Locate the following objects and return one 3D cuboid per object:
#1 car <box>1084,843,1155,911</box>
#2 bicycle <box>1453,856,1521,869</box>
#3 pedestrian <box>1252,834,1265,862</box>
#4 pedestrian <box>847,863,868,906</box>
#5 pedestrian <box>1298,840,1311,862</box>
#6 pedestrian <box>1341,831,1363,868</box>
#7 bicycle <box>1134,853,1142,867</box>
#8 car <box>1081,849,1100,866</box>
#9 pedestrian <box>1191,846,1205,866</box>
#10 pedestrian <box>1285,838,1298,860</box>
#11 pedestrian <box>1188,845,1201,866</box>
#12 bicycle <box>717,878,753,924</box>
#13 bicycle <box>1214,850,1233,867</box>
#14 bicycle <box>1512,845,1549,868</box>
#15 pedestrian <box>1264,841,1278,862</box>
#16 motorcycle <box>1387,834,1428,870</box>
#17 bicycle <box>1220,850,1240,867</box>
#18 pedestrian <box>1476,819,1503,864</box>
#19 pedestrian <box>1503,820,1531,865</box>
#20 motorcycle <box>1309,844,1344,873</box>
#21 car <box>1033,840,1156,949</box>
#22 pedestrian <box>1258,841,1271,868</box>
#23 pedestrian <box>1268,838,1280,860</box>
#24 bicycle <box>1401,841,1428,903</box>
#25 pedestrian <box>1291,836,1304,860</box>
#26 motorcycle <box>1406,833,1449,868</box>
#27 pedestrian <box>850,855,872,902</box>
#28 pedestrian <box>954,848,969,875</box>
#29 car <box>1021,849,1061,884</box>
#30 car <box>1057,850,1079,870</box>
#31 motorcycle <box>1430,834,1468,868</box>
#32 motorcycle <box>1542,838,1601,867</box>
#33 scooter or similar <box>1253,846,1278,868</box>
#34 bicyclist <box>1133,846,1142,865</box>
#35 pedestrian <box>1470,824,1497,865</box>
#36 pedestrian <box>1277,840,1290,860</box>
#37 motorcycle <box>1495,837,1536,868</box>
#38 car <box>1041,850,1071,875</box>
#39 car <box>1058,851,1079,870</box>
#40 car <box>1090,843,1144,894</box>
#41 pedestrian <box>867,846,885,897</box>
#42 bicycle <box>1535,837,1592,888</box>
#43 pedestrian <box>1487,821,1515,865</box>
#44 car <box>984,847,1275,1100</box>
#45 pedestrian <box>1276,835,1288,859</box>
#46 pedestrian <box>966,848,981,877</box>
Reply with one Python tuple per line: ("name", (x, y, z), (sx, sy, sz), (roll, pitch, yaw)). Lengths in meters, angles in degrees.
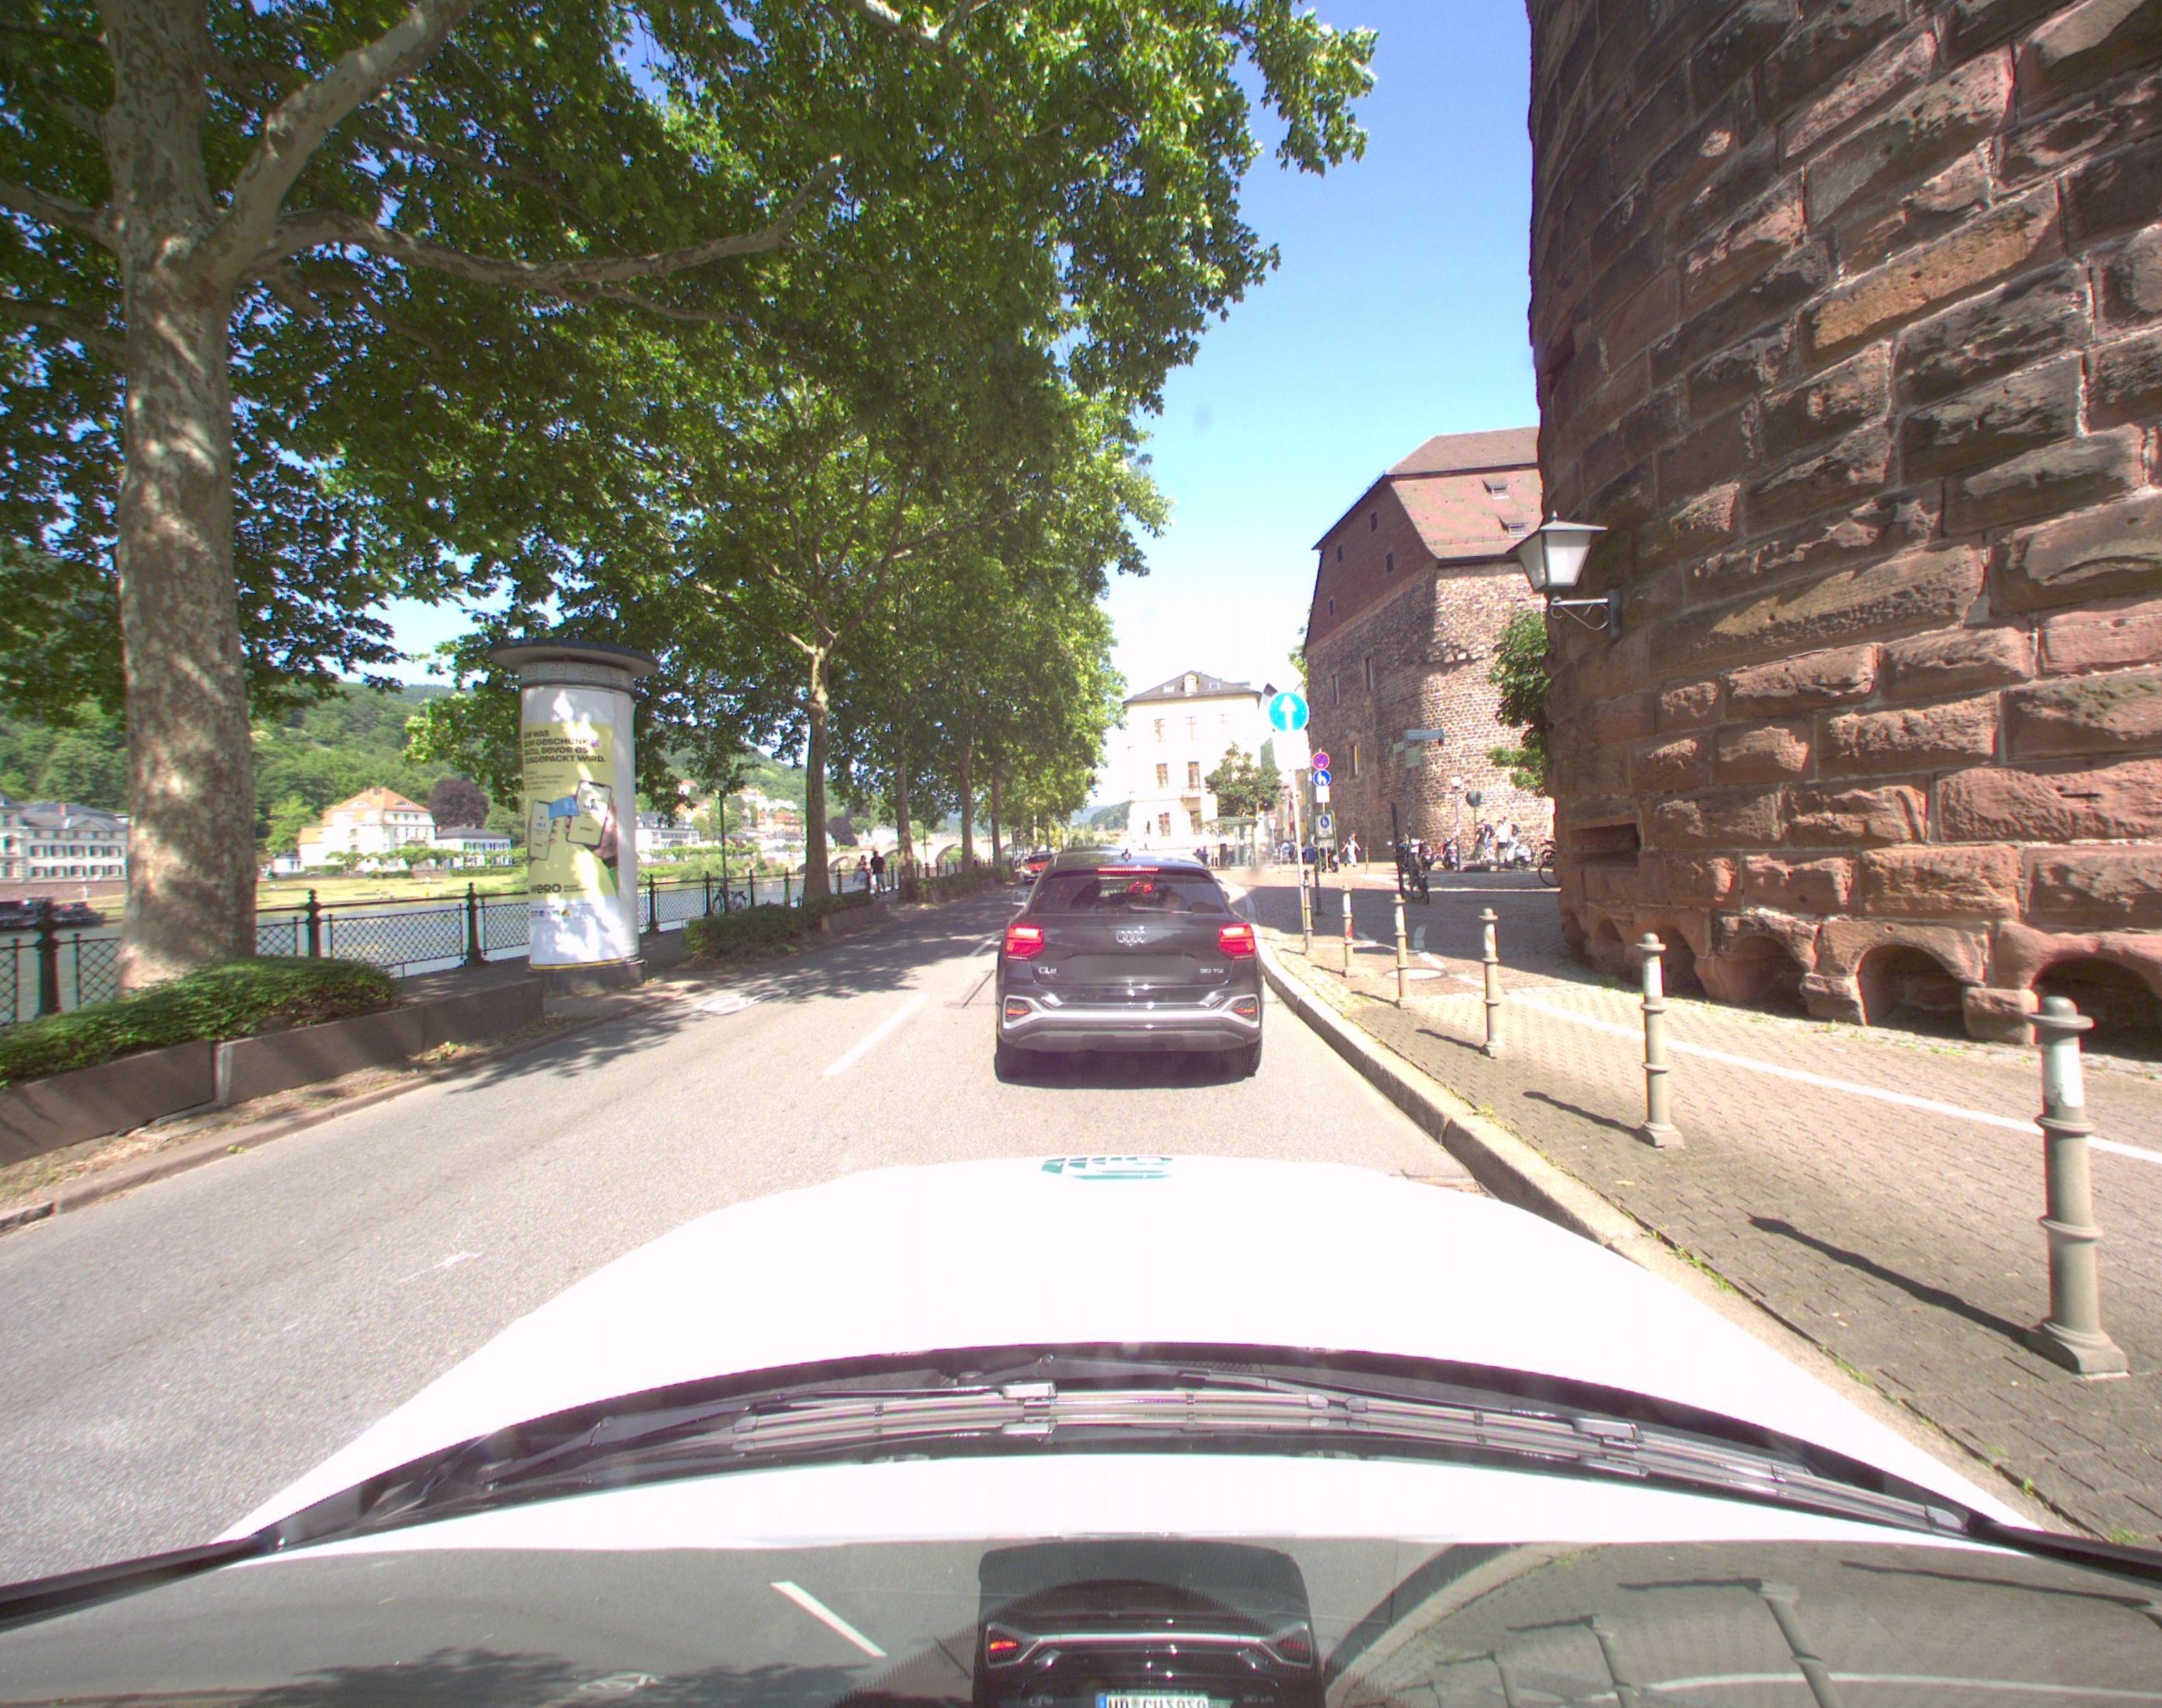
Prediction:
("car", (0.998, 0.559, 21.813), (1.704, 1.609, 3.656), (-1, 0, 2))
("bicycle", (13.593, 0.282, 27.338), (1.914, 0.381, 0.921), (-2, -1, 16))
("pedestrian", (12.267, -0.405, 56.224), (0.744, 1.890, 0.753), (0, -1, 4))
("pedestrian", (-7.365, 1.010, 26.850), (0.476, 1.362, 0.418), (-3, 0, 5))
("pedestrian", (16.940, -0.226, 61.708), (0.685, 1.612, 0.896), (-4, 0, 24))
("pedestrian", (12.486, -0.201, 37.541), (0.800, 1.662, 0.660), (-3, 0, 25))
("bicycle", (4.363, 0.463, 62.709), (0.436, 1.086, 1.675), (0, -1, -2))
("car", (1.078, 0.413, 90.639), (1.985, 1.806, 4.003), (0, -1, 3))
("pedestrian", (6.920, 0.120, 48.146), (0.662, 1.211, 0.640), (0, -1, -5))
("pedestrian", (16.250, -0.373, 62.838), (0.773, 1.621, 0.646), (-3, 0, 4))
("pedestrian", (6.834, 0.102, 48.917), (0.662, 1.231, 0.640), (0, -1, -5))
("bicycle", (-8.892, 1.193, 20.966), (0.358, 1.091, 1.296), (1, 0, 1))
("bicycle", (8.677, 0.265, 49.519), (1.187, 1.016, 0.178), (0, -1, -17))
("bicycle", (16.625, 0.062, 30.149), (0.352, 0.820, 1.926), (0, 1, 1))
("pedestrian", (13.135, -0.157, 56.300), (0.637, 1.444, 0.797), (-3, 0, -5))
("motorcycle", (11.972, -0.052, 29.937), (0.653, 1.266, 2.201), (-2, -1, 2))
("bicycle", (8.949, 0.274, 48.899), (1.205, 1.035, 0.178), (0, -1, -17))
("pedestrian", (18.588, -0.560, 37.080), (0.736, 2.014, 0.868), (0, -1, -39))
("pedestrian", (19.054, -0.502, 35.621), (0.670, 1.920, 0.816), (0, -1, -18))
("motorcycle", (9.054, 0.161, 30.111), (0.564, 1.012, 2.490), (-2, 0, 1))
("car", (0.255, 0.585, 13.583), (1.786, 1.595, 3.400), (0, 0, 2))
("pedestrian", (9.567, 0.013, 42.444), (0.555, 1.385, 0.588), (0, -1, 4))
("pedestrian", (17.484, -0.428, 73.785), (0.941, 2.014, 0.808), (0, -1, 2))
("bicycle", (6.892, 0.333, 16.861), (0.192, 1.203, 1.775), (-2, 1, 13))
("pedestrian", (18.159, -0.520, 68.335), (0.936, 2.014, 0.808), (0, -1, 4))
("motorcycle", (12.832, -0.119, 30.252), (0.672, 1.235, 2.313), (0, -1, 2))
("pedestrian", (-8.127, 0.885, 30.116), (0.599, 1.685, 0.583), (-2, 0, 0))
("pedestrian", (-8.120, 0.545, 55.259), (0.906, 1.811, 0.586), (-1, -2, 6))
("car", (-2.051, 0.632, 43.198), (1.667, 1.660, 4.224), (-5, 0, 1))
("car", (-1.346, 0.579, 84.586), (1.806, 1.725, 4.423), (-8, 0, 2))
("motorcycle", (13.711, -0.104, 30.358), (0.544, 1.235, 2.031), (0, -1, 2))
("motorcycle", (18.483, -0.048, 30.726), (1.854, 1.054, 0.481), (-1, -1, 9))
("scooter or similar", (8.903, 0.134, 39.301), (1.085, 1.066, 0.323), (0, -1, -1))
("bicyclist", (4.361, 0.133, 62.653), (0.604, 1.450, 0.590), (0, -1, -3))
("pedestrian", (17.951, -0.429, 36.327), (0.655, 1.802, 0.839), (-1, 0, -27))
("pedestrian", (15.870, -0.329, 63.841), (0.772, 1.564, 0.647), (-3, 0, 7))
("motorcycle", (15.534, -0.059, 29.146), (0.505, 1.073, 1.841), (0, -1, 2))
("car", (-1.774, 0.575, 59.014), (1.762, 1.660, 4.002), (-4, 0, 2))
("car", (-1.185, 0.576, 78.075), (1.732, 1.572, 4.093), (-5, 0, 2))
("car", (1.275, 0.480, 29.186), (1.788, 1.682, 4.002), (-1, 0, 2))
("pedestrian", (-7.714, 0.651, 30.689), (0.532, 1.887, 0.437), (-1, 0, 1))
("bicycle", (11.500, 0.185, 19.471), (0.444, 1.162, 1.733), (-2, 0, 5))
("pedestrian", (18.244, -0.486, 35.366), (0.671, 1.884, 0.815), (0, -1, -23))
("car", (0.347, 0.701, 6.696), (1.736, 1.509, 3.649), (0, 0, 2))
("pedestrian", (16.991, -0.547, 68.970), (0.836, 2.014, 0.738), (0, -1, 2))
("pedestrian", (-7.587, 0.579, 57.609), (0.906, 2.014, 0.587), (-1, -1, 6))
